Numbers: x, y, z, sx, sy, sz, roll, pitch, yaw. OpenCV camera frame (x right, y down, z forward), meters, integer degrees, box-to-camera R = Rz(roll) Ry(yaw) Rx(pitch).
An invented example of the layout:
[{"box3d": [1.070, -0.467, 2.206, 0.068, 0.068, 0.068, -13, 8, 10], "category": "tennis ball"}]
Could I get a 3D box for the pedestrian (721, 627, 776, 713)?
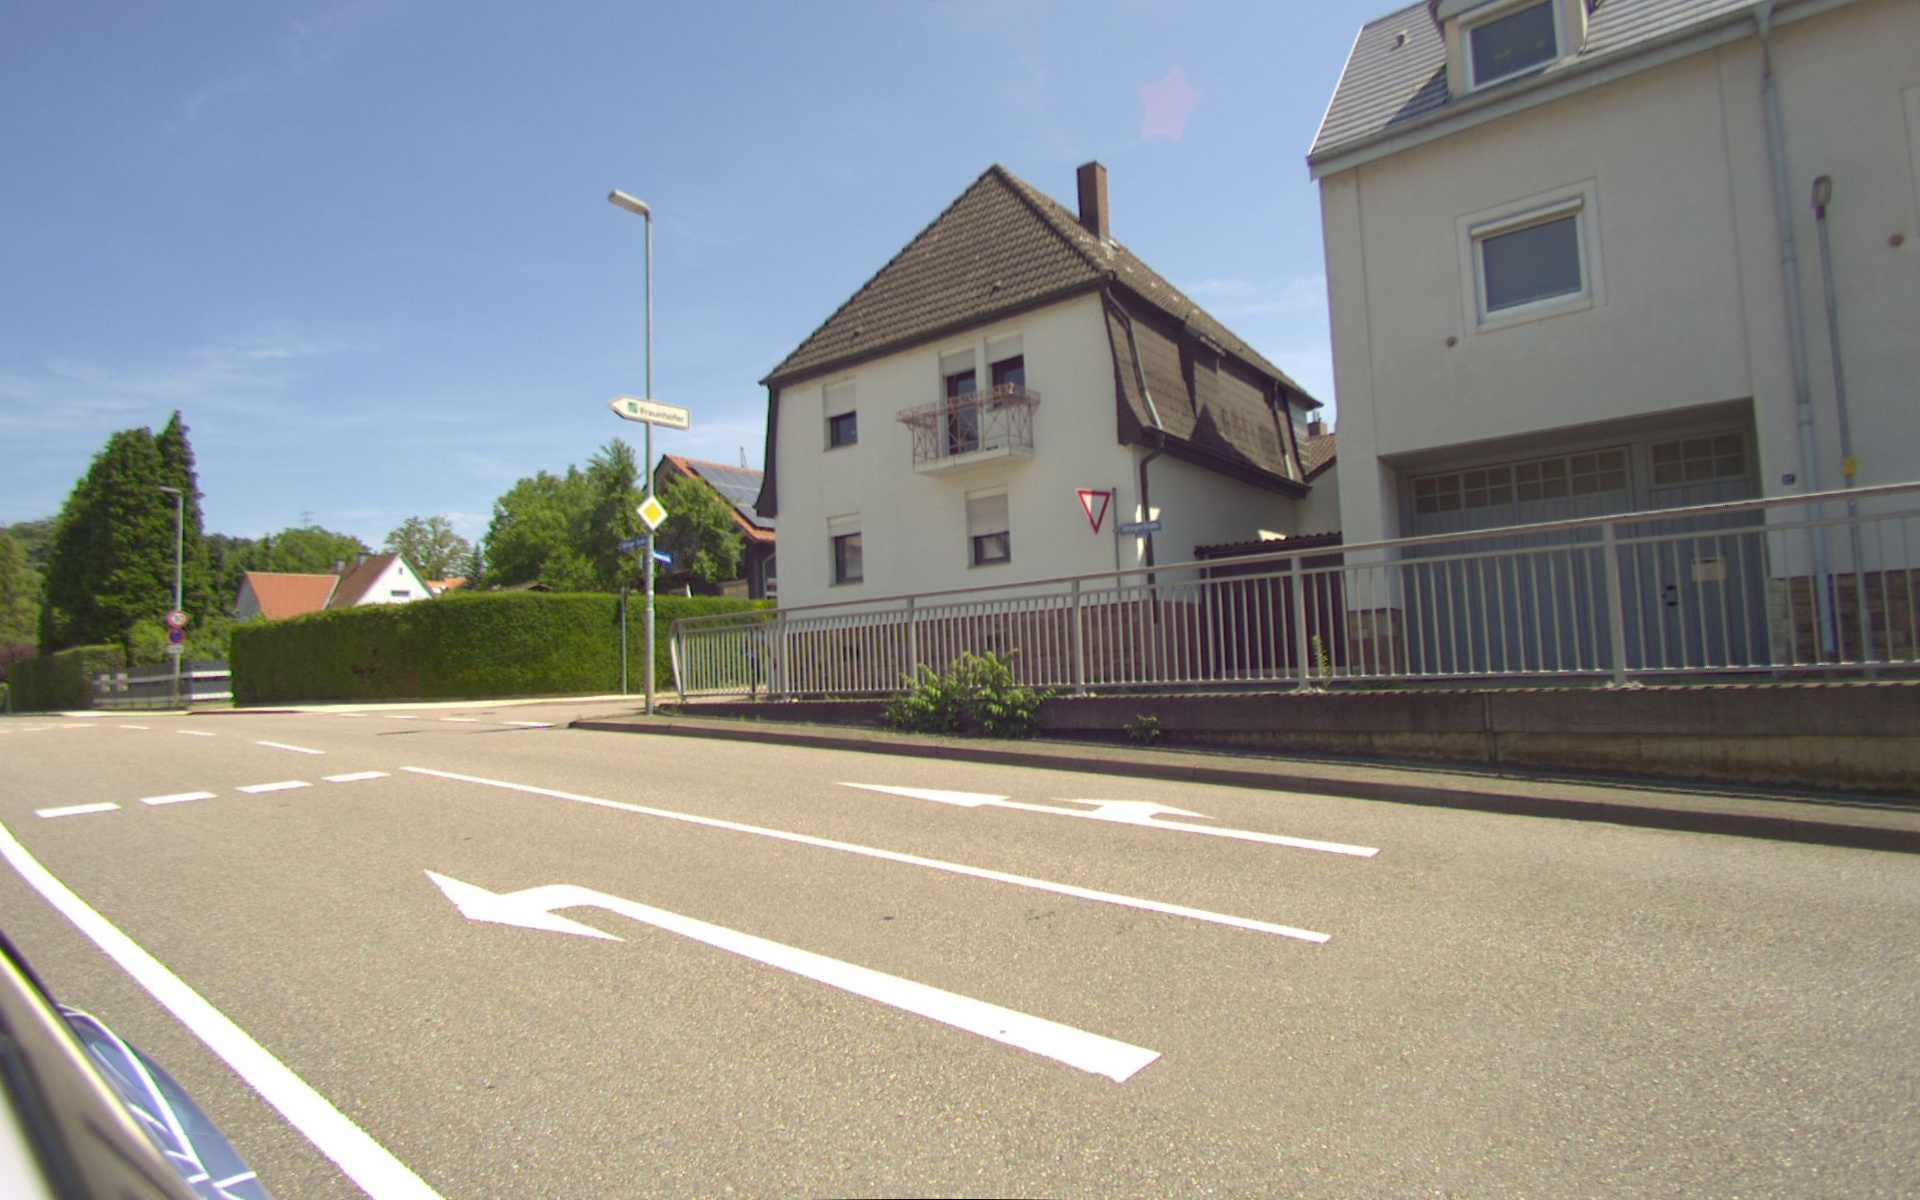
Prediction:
[{"box3d": [-4.438, 1.445, 21.248, 0.854, 1.742, 0.720, -2, -2, 37], "category": "pedestrian"}]
